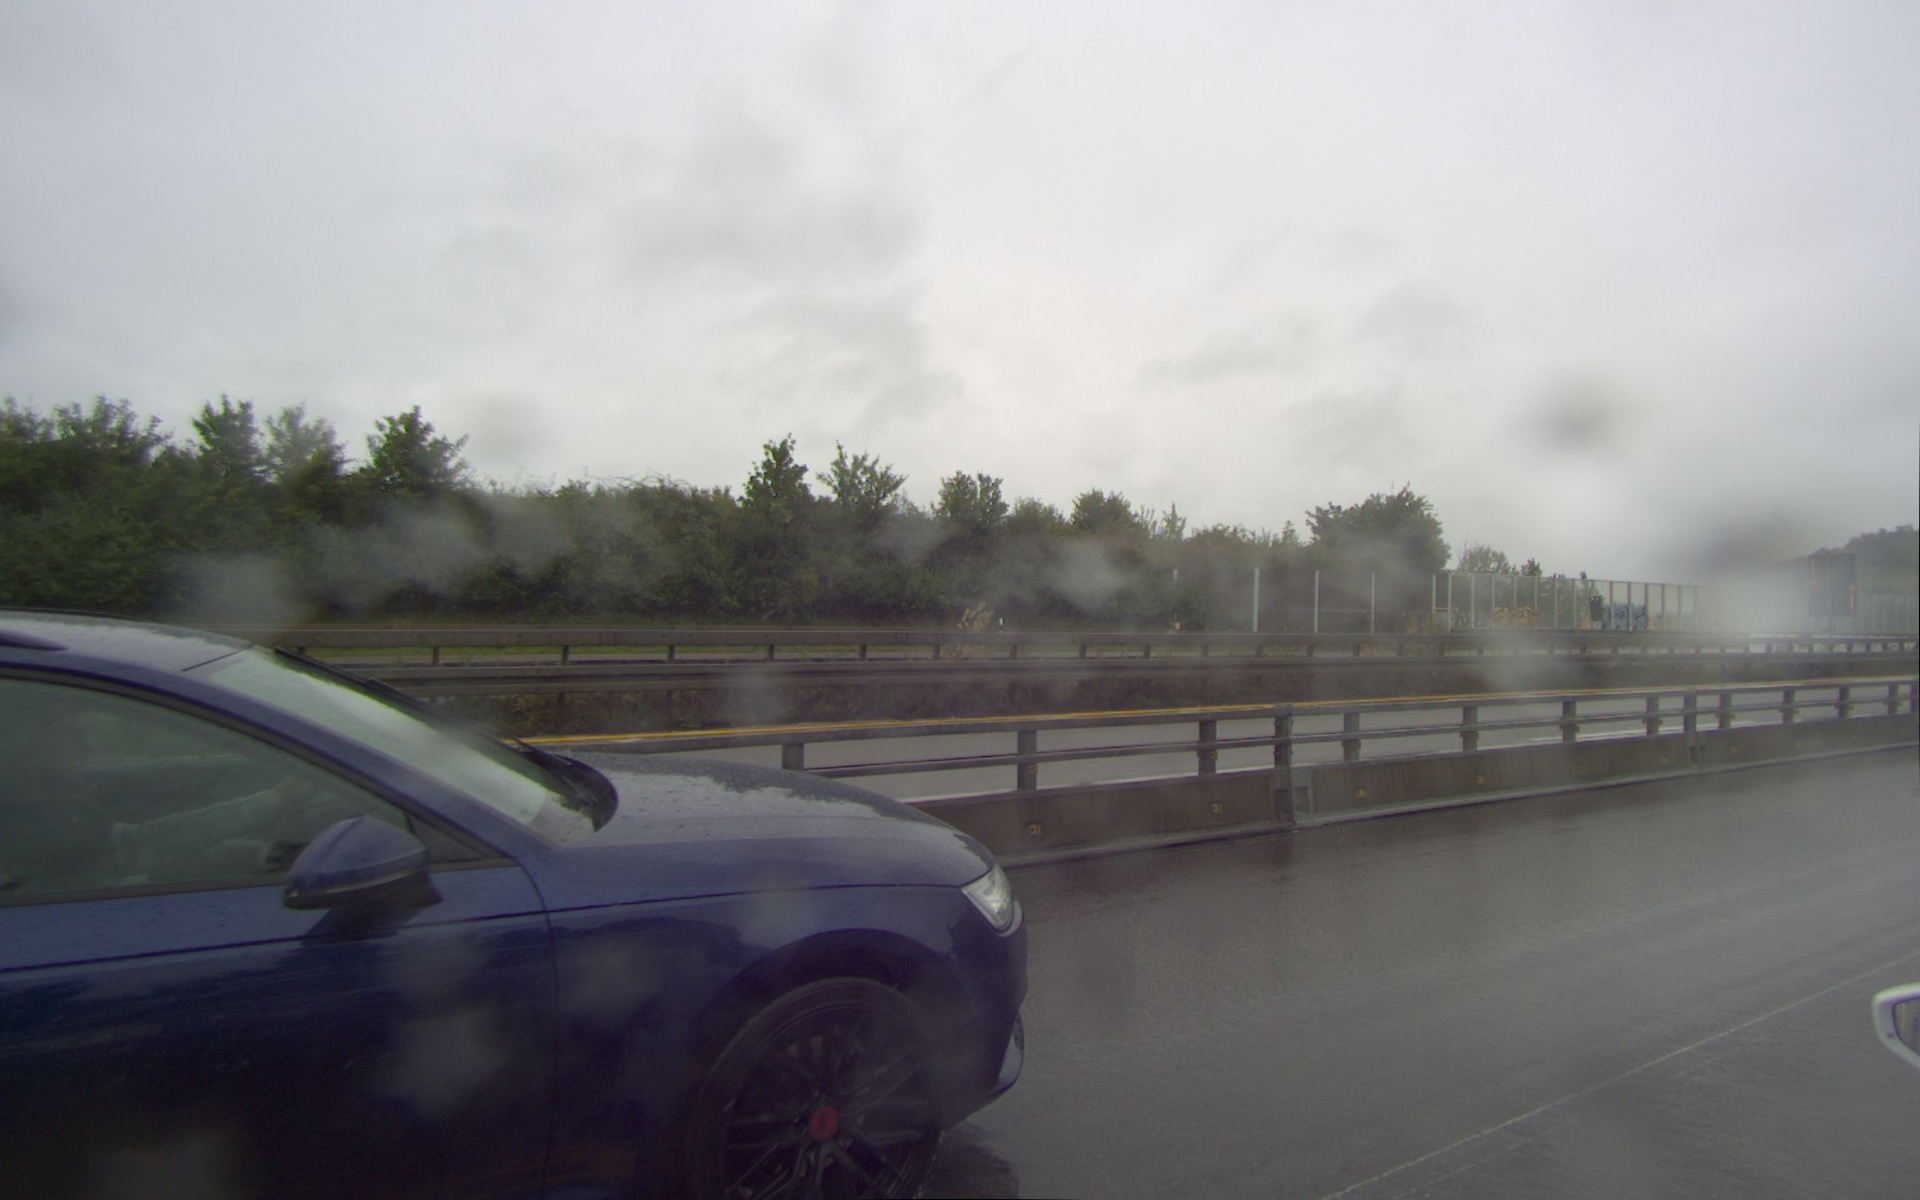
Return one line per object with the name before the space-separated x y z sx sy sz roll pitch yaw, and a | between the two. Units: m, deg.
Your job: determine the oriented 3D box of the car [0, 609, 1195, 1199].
car | -1.863 0.800 2.308 4.576 1.517 1.984 2 -1 -30
